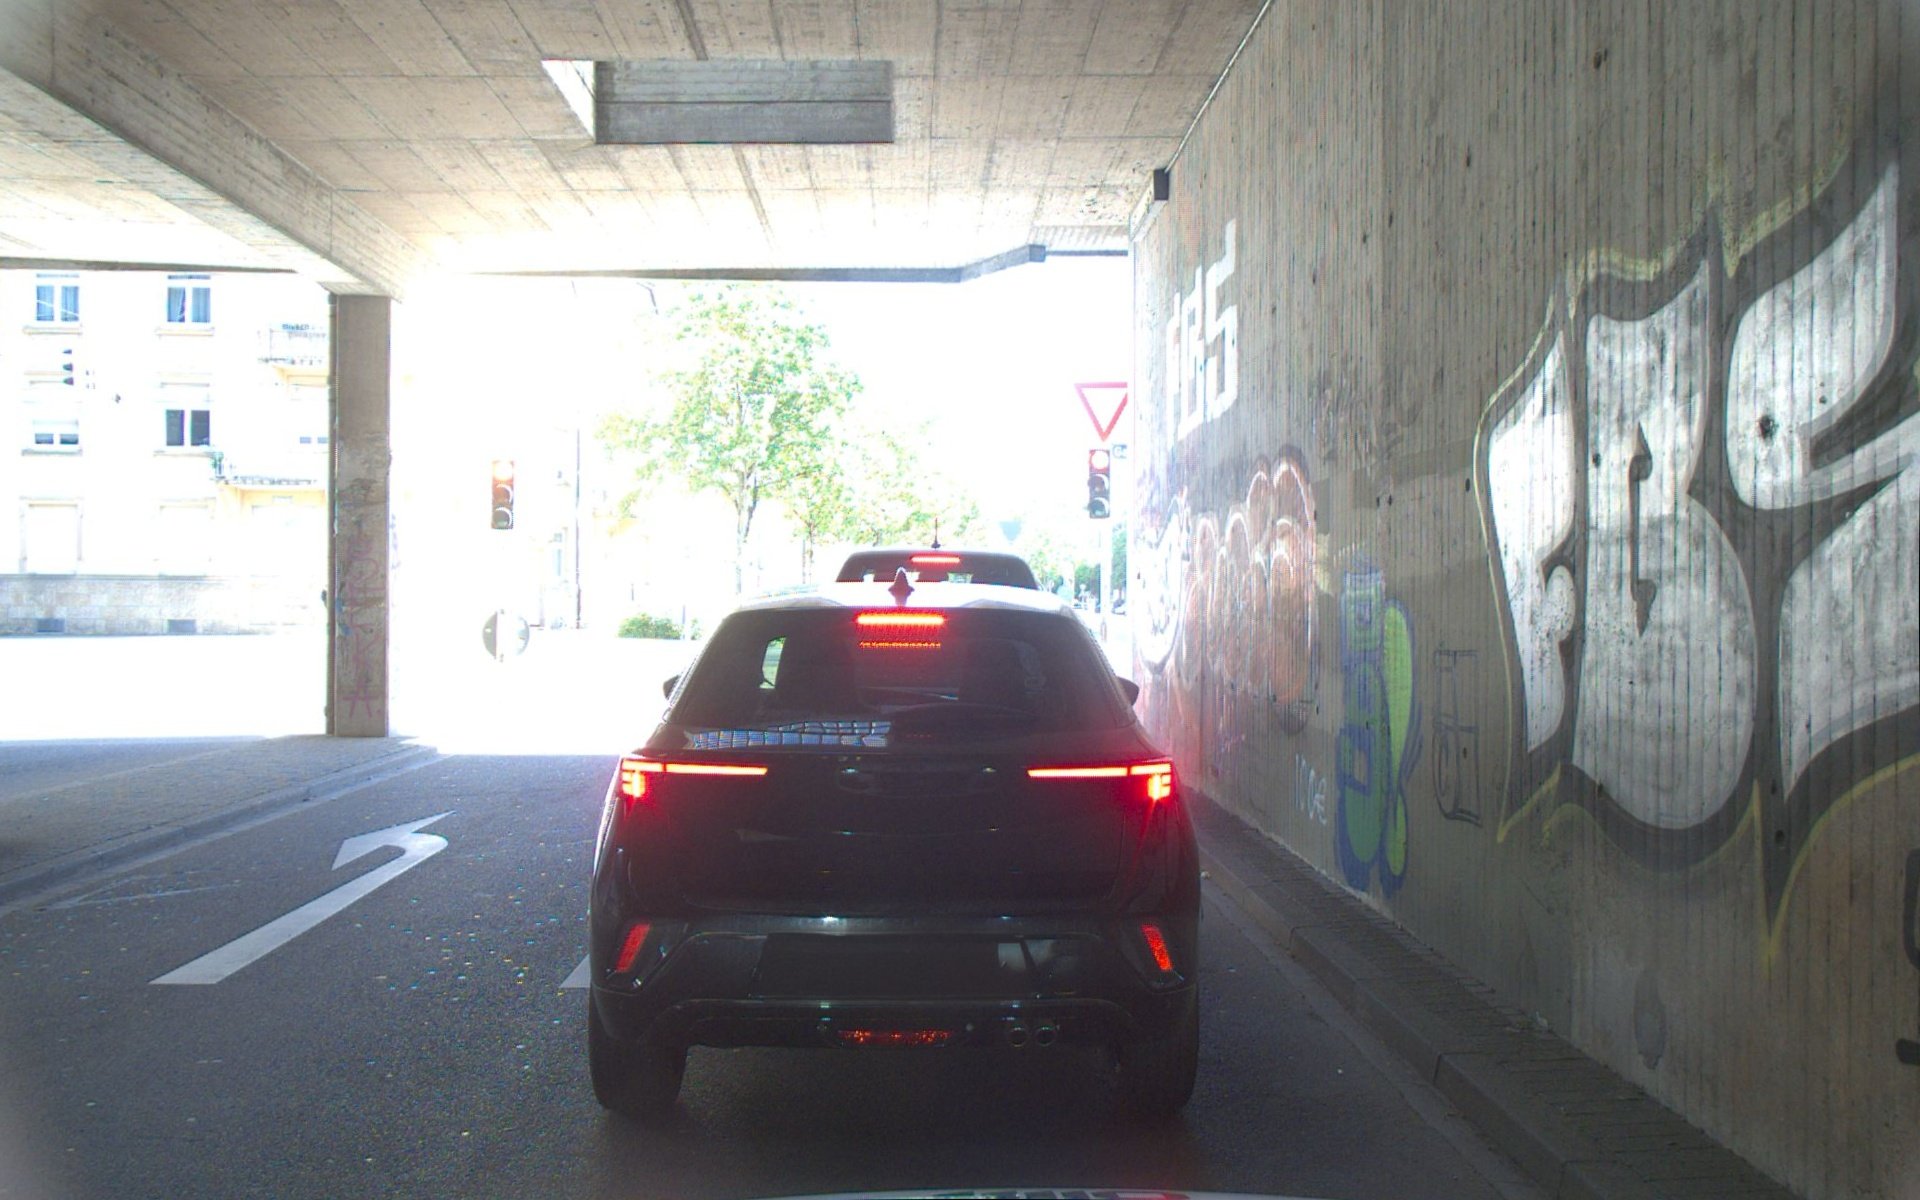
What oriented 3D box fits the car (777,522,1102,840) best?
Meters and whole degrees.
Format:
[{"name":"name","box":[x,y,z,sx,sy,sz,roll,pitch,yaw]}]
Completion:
[{"name":"car","box":[-0.147,0.476,11.976,1.953,1.904,3.999,0,0,-1]}]

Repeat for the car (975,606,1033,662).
[{"name":"car","box":[1.706,1.256,62.392,1.951,2.004,4.166,1,0,4]}]

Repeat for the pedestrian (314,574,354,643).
[{"name":"pedestrian","box":[-15.205,0.210,40.185,0.658,1.666,0.740,1,-1,-1]}]

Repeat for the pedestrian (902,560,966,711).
[{"name":"pedestrian","box":[-0.310,0.418,19.845,0.716,1.764,0.874,1,-1,-1]}]

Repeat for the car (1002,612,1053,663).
[{"name":"car","box":[2.819,1.531,68.453,1.951,2.004,4.166,1,0,4]}]

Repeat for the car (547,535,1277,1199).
[{"name":"car","box":[-0.142,0.611,5.976,1.729,1.598,4.000,1,1,-1]}]

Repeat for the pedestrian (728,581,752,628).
[{"name":"pedestrian","box":[-10.101,0.221,75.856,0.873,2.124,0.808,1,-1,7]}]
